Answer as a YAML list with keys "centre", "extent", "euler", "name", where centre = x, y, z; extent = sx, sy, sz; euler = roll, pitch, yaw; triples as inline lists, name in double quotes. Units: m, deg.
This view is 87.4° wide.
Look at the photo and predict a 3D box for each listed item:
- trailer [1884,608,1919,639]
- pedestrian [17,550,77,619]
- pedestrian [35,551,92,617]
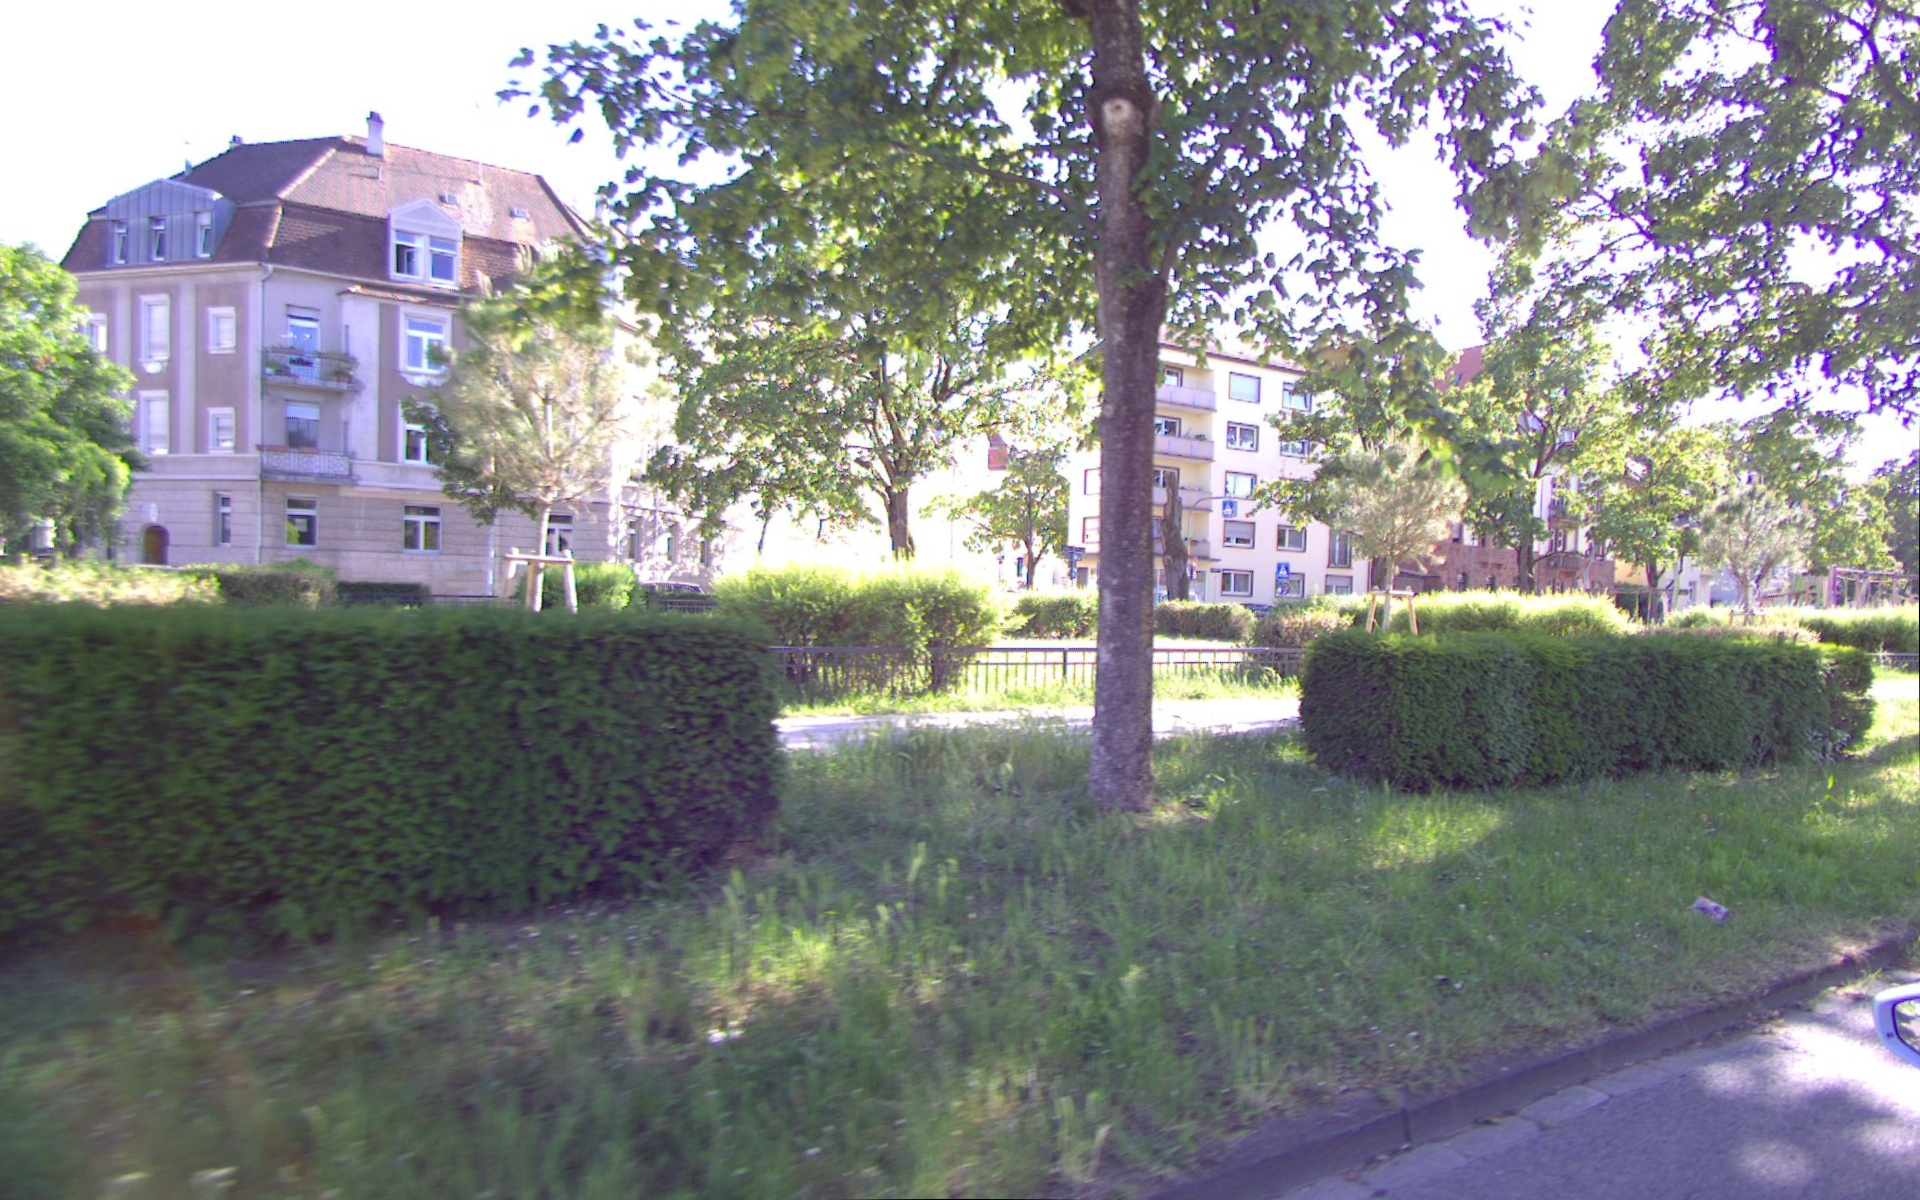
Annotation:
- centre: [93.453, 2.348, 98.662]
  extent: [5.735, 2.909, 2.331]
  euler: [2, 1, -30]
  name: "trailer"
- centre: [-17.316, -0.295, 19.060]
  extent: [0.641, 1.255, 0.646]
  euler: [2, 1, -23]
  name: "pedestrian"
- centre: [-17.604, -0.316, 19.740]
  extent: [0.641, 1.255, 0.646]
  euler: [2, 1, -23]
  name: "pedestrian"
